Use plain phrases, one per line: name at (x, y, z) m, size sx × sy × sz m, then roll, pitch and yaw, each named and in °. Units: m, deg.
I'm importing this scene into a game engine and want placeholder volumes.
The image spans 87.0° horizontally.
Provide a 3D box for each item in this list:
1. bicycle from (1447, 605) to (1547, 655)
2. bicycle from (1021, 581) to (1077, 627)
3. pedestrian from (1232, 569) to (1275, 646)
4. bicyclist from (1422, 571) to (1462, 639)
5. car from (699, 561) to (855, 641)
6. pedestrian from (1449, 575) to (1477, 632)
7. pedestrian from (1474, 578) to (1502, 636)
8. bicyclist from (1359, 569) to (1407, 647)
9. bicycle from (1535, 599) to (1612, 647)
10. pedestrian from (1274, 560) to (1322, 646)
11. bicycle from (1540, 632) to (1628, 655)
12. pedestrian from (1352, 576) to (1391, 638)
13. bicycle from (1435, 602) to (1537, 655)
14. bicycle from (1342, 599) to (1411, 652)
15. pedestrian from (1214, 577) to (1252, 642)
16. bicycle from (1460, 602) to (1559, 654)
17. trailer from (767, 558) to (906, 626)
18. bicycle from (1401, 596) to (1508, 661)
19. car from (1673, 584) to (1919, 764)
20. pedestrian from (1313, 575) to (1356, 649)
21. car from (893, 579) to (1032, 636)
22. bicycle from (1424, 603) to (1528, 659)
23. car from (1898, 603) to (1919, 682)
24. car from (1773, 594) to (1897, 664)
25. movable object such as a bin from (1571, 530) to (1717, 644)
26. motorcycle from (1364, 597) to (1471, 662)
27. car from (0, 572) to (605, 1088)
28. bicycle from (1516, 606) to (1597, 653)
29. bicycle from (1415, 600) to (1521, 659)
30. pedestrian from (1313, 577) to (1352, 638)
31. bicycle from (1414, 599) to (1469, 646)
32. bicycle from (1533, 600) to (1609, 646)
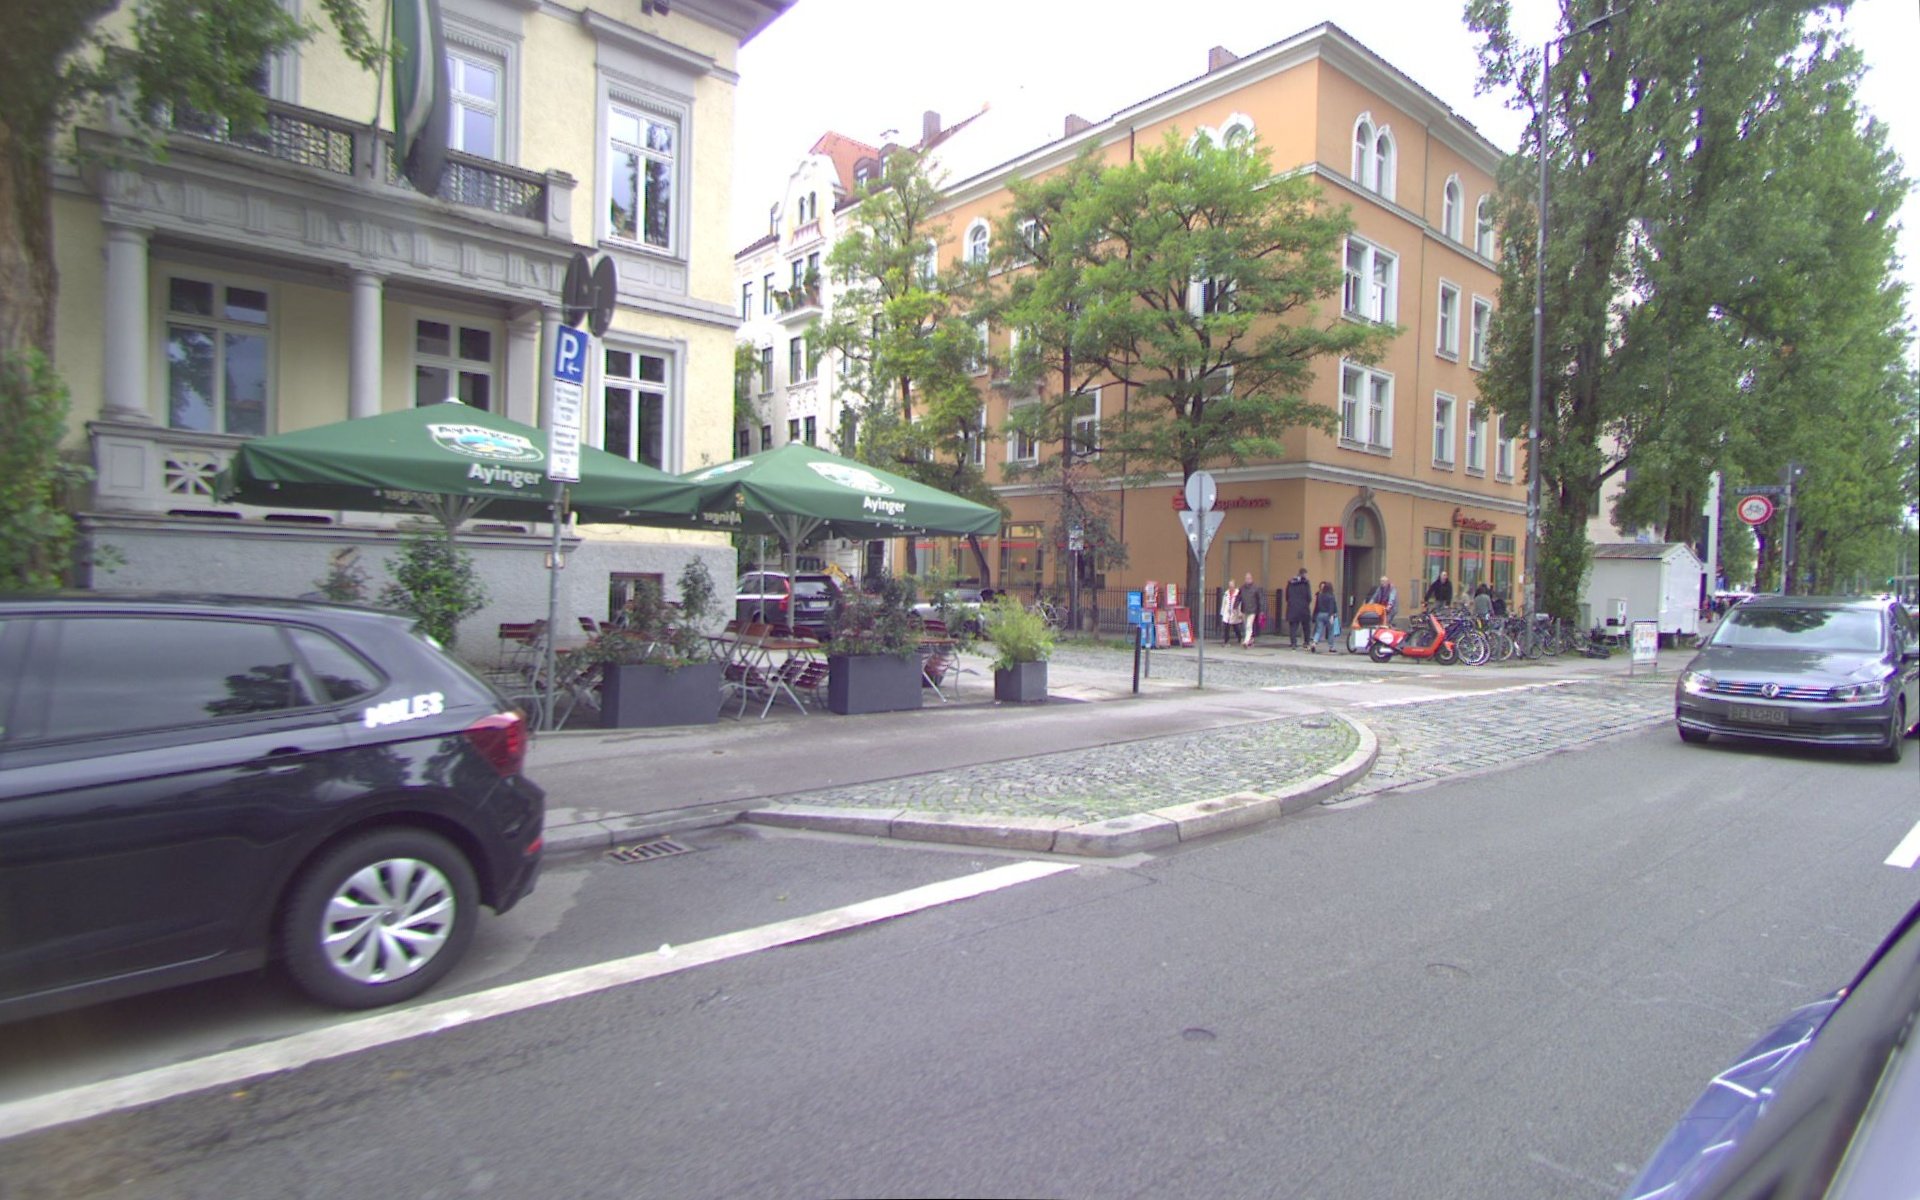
bicycle at (12.178, 0.670, 23.011) m, size 0.551 × 1.022 × 1.945 m, roll 1°, pitch 1°, yaw -39°
bicycle at (2.789, 0.103, 31.775) m, size 0.551 × 1.389 × 1.945 m, roll 1°, pitch 0°, yaw -39°
pedestrian at (7.013, 0.169, 24.162) m, size 0.718 × 1.788 × 0.699 m, roll 0°, pitch 0°, yaw -38°
bicyclist at (12.434, 0.128, 26.095) m, size 0.738 × 1.708 × 0.737 m, roll 2°, pitch 1°, yaw 42°
car at (-4.444, 0.005, 24.104) m, size 1.934 × 1.724 × 4.428 m, roll 0°, pitch 0°, yaw -36°
pedestrian at (15.399, 0.098, 30.992) m, size 0.565 × 1.715 × 0.633 m, roll 0°, pitch 0°, yaw -45°
pedestrian at (15.944, 0.199, 30.560) m, size 0.617 × 1.715 × 0.565 m, roll 0°, pitch 0°, yaw 44°
bicyclist at (9.895, 0.169, 23.672) m, size 0.827 × 1.779 × 0.657 m, roll 2°, pitch 1°, yaw 41°
bicycle at (15.202, 0.561, 25.110) m, size 1.587 × 1.098 × 0.339 m, roll 2°, pitch 1°, yaw 28°
pedestrian at (7.962, 0.070, 23.826) m, size 0.837 × 1.973 × 0.790 m, roll 0°, pitch 0°, yaw 41°
bicycle at (14.955, 1.028, 24.260) m, size 1.671 × 0.378 × 0.818 m, roll 4°, pitch 3°, yaw 42°
pedestrian at (10.700, 0.175, 26.331) m, size 0.603 × 1.591 × 0.746 m, roll 0°, pitch 0°, yaw -38°
bicycle at (11.730, 0.612, 22.623) m, size 0.551 × 1.089 × 1.945 m, roll 1°, pitch 1°, yaw -39°
bicycle at (9.666, 0.557, 23.435) m, size 0.883 × 1.134 × 2.071 m, roll 2°, pitch 1°, yaw 40°
pedestrian at (6.722, 0.226, 24.897) m, size 0.564 × 1.591 × 0.699 m, roll 0°, pitch 0°, yaw -38°
bicycle at (12.732, 0.622, 23.496) m, size 0.551 × 1.098 × 1.945 m, roll 1°, pitch 1°, yaw -39°
trailer at (-4.160, -0.278, 33.279) m, size 1.873 × 2.054 × 5.247 m, roll 1°, pitch 0°, yaw -42°
bicycle at (10.318, 0.570, 21.195) m, size 0.551 × 1.255 × 1.945 m, roll 1°, pitch 1°, yaw -39°
car at (9.540, 0.663, 11.153) m, size 4.120 × 1.611 × 1.880 m, roll 0°, pitch 0°, yaw -42°
pedestrian at (8.697, 0.277, 23.482) m, size 0.742 × 1.682 × 0.760 m, roll 0°, pitch 0°, yaw 38°
car at (0.013, 0.190, 29.253) m, size 1.873 × 1.539 × 3.993 m, roll 0°, pitch 0°, yaw -42°
bicycle at (11.225, 0.649, 22.089) m, size 0.551 × 1.102 × 1.945 m, roll 1°, pitch 1°, yaw -39°
car at (19.657, 0.805, 19.754) m, size 3.934 × 1.451 × 1.614 m, roll 0°, pitch 0°, yaw -42°
car at (21.769, 0.658, 25.122) m, size 4.421 × 1.572 × 1.787 m, roll 0°, pitch 0°, yaw -42°
movable object such as a bin at (20.765, -0.410, 30.666) m, size 4.463 × 3.175 × 2.445 m, roll 1°, pitch 2°, yaw -41°
motorcycle at (9.389, 0.578, 20.825) m, size 1.939 × 1.236 × 0.510 m, roll 2°, pitch 1°, yaw 24°
car at (-3.407, 0.627, 3.315) m, size 3.884 × 1.434 × 1.696 m, roll 0°, pitch 1°, yaw -43°
bicycle at (14.123, 0.687, 23.987) m, size 1.597 × 1.022 × 0.337 m, roll 2°, pitch 1°, yaw 43°
bicycle at (10.813, 0.596, 21.589) m, size 0.551 × 1.151 × 1.945 m, roll 1°, pitch 1°, yaw -39°
pedestrian at (9.958, 0.185, 27.043) m, size 0.651 × 1.591 × 0.746 m, roll 0°, pitch 0°, yaw -38°
bicycle at (12.449, 0.562, 26.126) m, size 0.734 × 1.134 × 2.071 m, roll 2°, pitch 1°, yaw 41°
bicycle at (15.342, 0.566, 25.446) m, size 1.593 × 1.098 × 0.319 m, roll 2°, pitch 1°, yaw 28°
